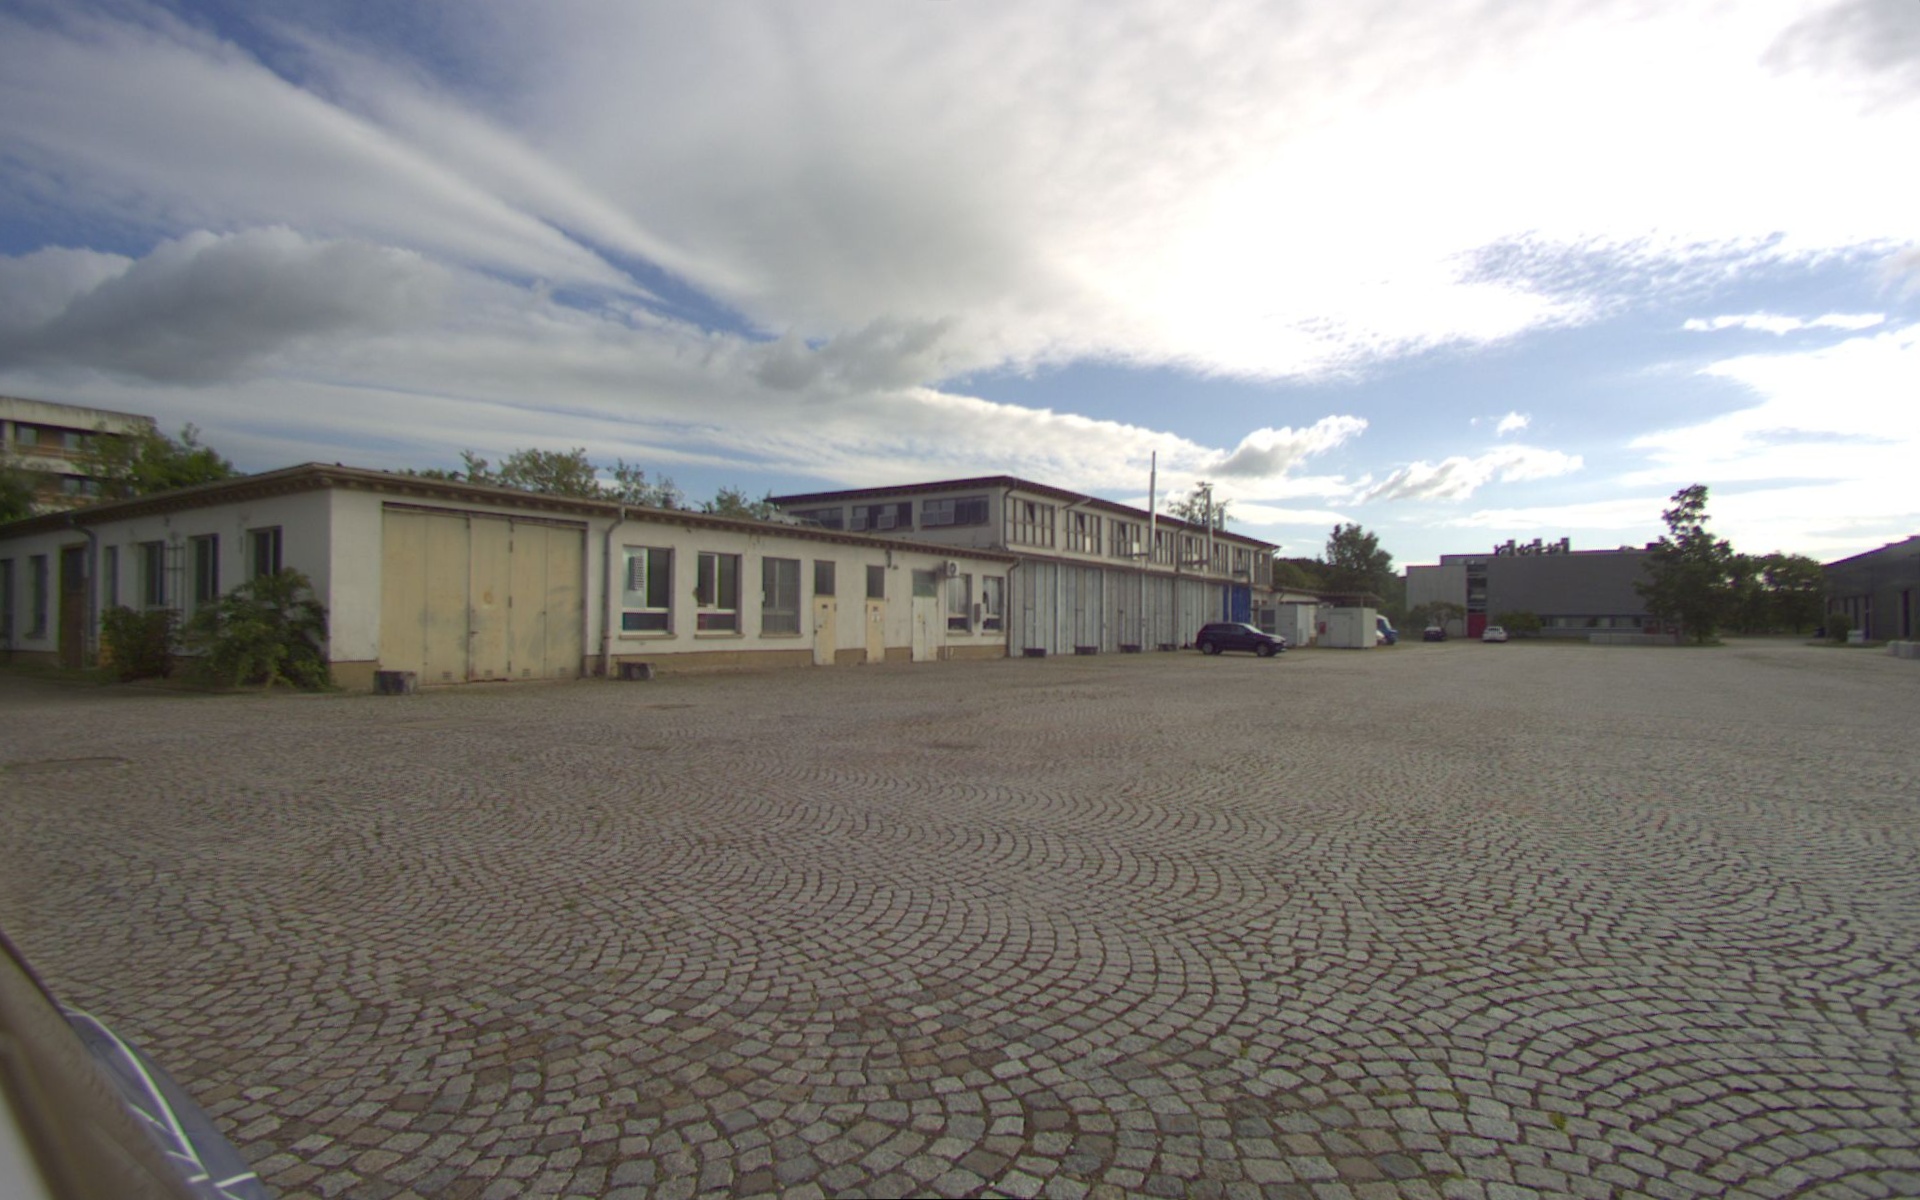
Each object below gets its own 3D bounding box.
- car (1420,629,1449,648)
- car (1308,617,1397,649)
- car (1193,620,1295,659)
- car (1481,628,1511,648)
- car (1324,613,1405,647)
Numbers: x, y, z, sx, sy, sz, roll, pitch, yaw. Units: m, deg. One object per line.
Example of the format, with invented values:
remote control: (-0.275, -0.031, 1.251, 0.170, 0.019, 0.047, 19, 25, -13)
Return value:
car: (46.146, 3.752, 98.391, 1.994, 1.824, 3.956, -1, -2, 32)
car: (28.173, 2.340, 72.738, 5.613, 2.236, 2.425, -1, -2, 33)
car: (13.811, 1.935, 49.328, 4.423, 1.770, 1.978, -1, -5, 33)
car: (50.782, 3.564, 95.861, 2.147, 1.824, 3.956, -1, -2, 32)
car: (32.074, 2.391, 80.377, 5.613, 2.635, 2.425, -1, -2, 33)
